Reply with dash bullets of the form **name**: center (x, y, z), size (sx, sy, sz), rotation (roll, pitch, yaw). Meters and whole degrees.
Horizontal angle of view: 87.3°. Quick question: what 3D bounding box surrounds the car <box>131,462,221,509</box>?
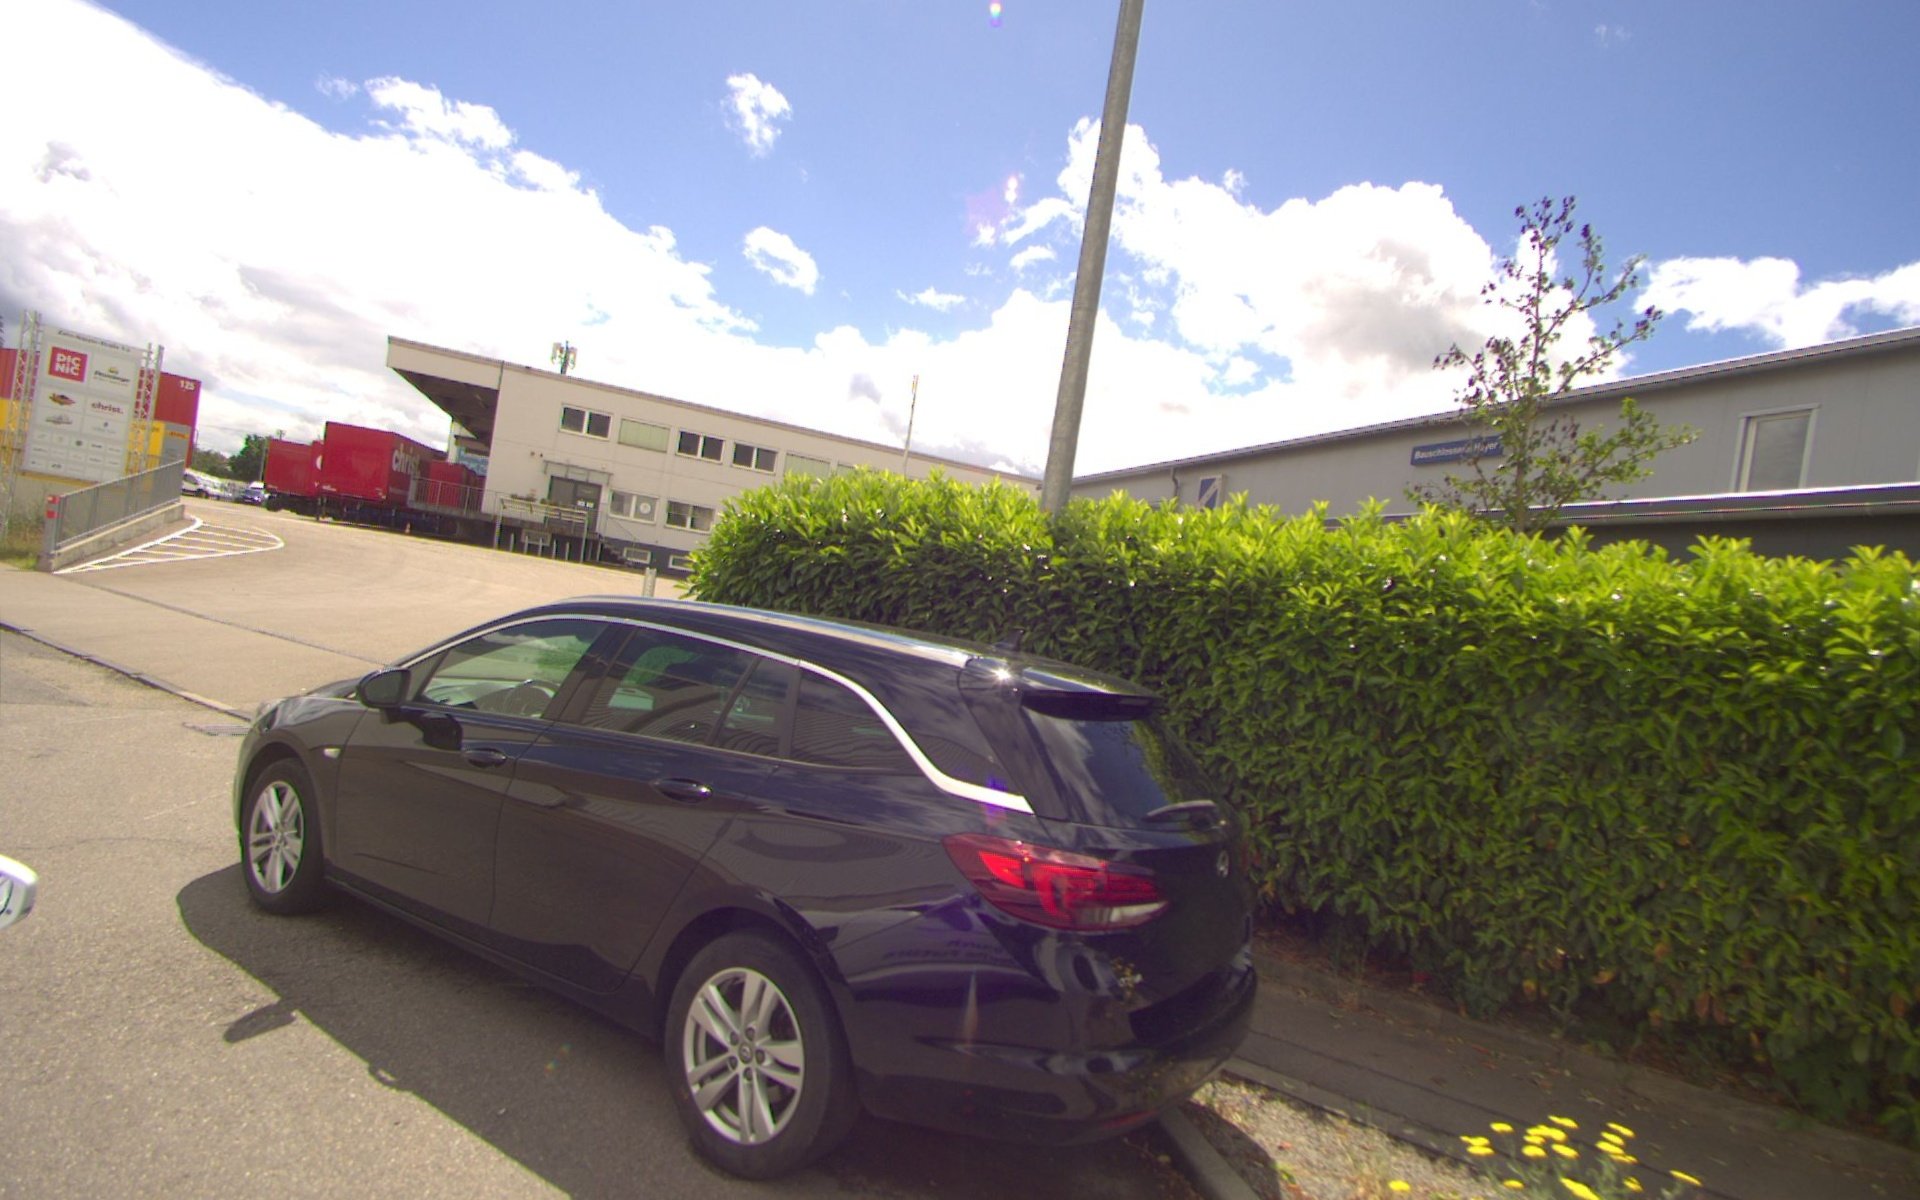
- **car**: center (-64.991, -9.439, 83.487), size (5.611, 2.707, 1.981), rotation (8, -2, -37)

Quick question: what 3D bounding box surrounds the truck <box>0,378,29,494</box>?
- **truck**: center (-43.724, -7.429, 40.645), size (2.548, 4.724, 8.439), rotation (5, -3, 42)

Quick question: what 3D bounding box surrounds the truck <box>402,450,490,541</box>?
- **truck**: center (-30.398, -6.019, 59.904), size (2.956, 4.106, 8.450), rotation (7, -2, -18)

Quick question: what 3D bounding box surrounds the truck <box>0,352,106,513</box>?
- **truck**: center (-33.540, -5.941, 32.570), size (8.409, 4.724, 2.557), rotation (8, -2, -37)

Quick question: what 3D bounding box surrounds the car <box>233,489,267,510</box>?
- **car**: center (-62.915, -8.908, 89.178), size (1.680, 1.473, 4.283), rotation (8, 0, -26)

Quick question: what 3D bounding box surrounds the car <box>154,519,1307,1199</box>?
- **car**: center (-1.169, 0.689, 4.012), size (4.436, 1.491, 1.717), rotation (7, -1, 32)

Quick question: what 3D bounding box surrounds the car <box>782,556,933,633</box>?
- **car**: center (-3.539, -0.186, 34.603), size (4.752, 1.882, 1.851), rotation (9, 1, -17)

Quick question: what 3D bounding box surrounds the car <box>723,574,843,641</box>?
- **car**: center (-4.648, 0.128, 27.084), size (1.823, 1.411, 4.344), rotation (6, 3, 8)

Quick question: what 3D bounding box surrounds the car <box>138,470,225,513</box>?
- **car**: center (-66.511, -9.200, 86.122), size (5.611, 2.570, 1.981), rotation (8, -2, -37)

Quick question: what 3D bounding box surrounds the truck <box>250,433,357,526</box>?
- **truck**: center (-39.392, -7.065, 60.728), size (2.956, 4.106, 8.450), rotation (7, -2, -18)

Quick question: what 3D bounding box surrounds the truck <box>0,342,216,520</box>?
- **truck**: center (-27.107, -5.171, 30.579), size (7.713, 4.501, 2.585), rotation (6, -1, 15)

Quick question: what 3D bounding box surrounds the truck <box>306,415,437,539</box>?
- **truck**: center (-26.302, -5.287, 45.466), size (2.956, 4.106, 8.450), rotation (7, -2, -18)
